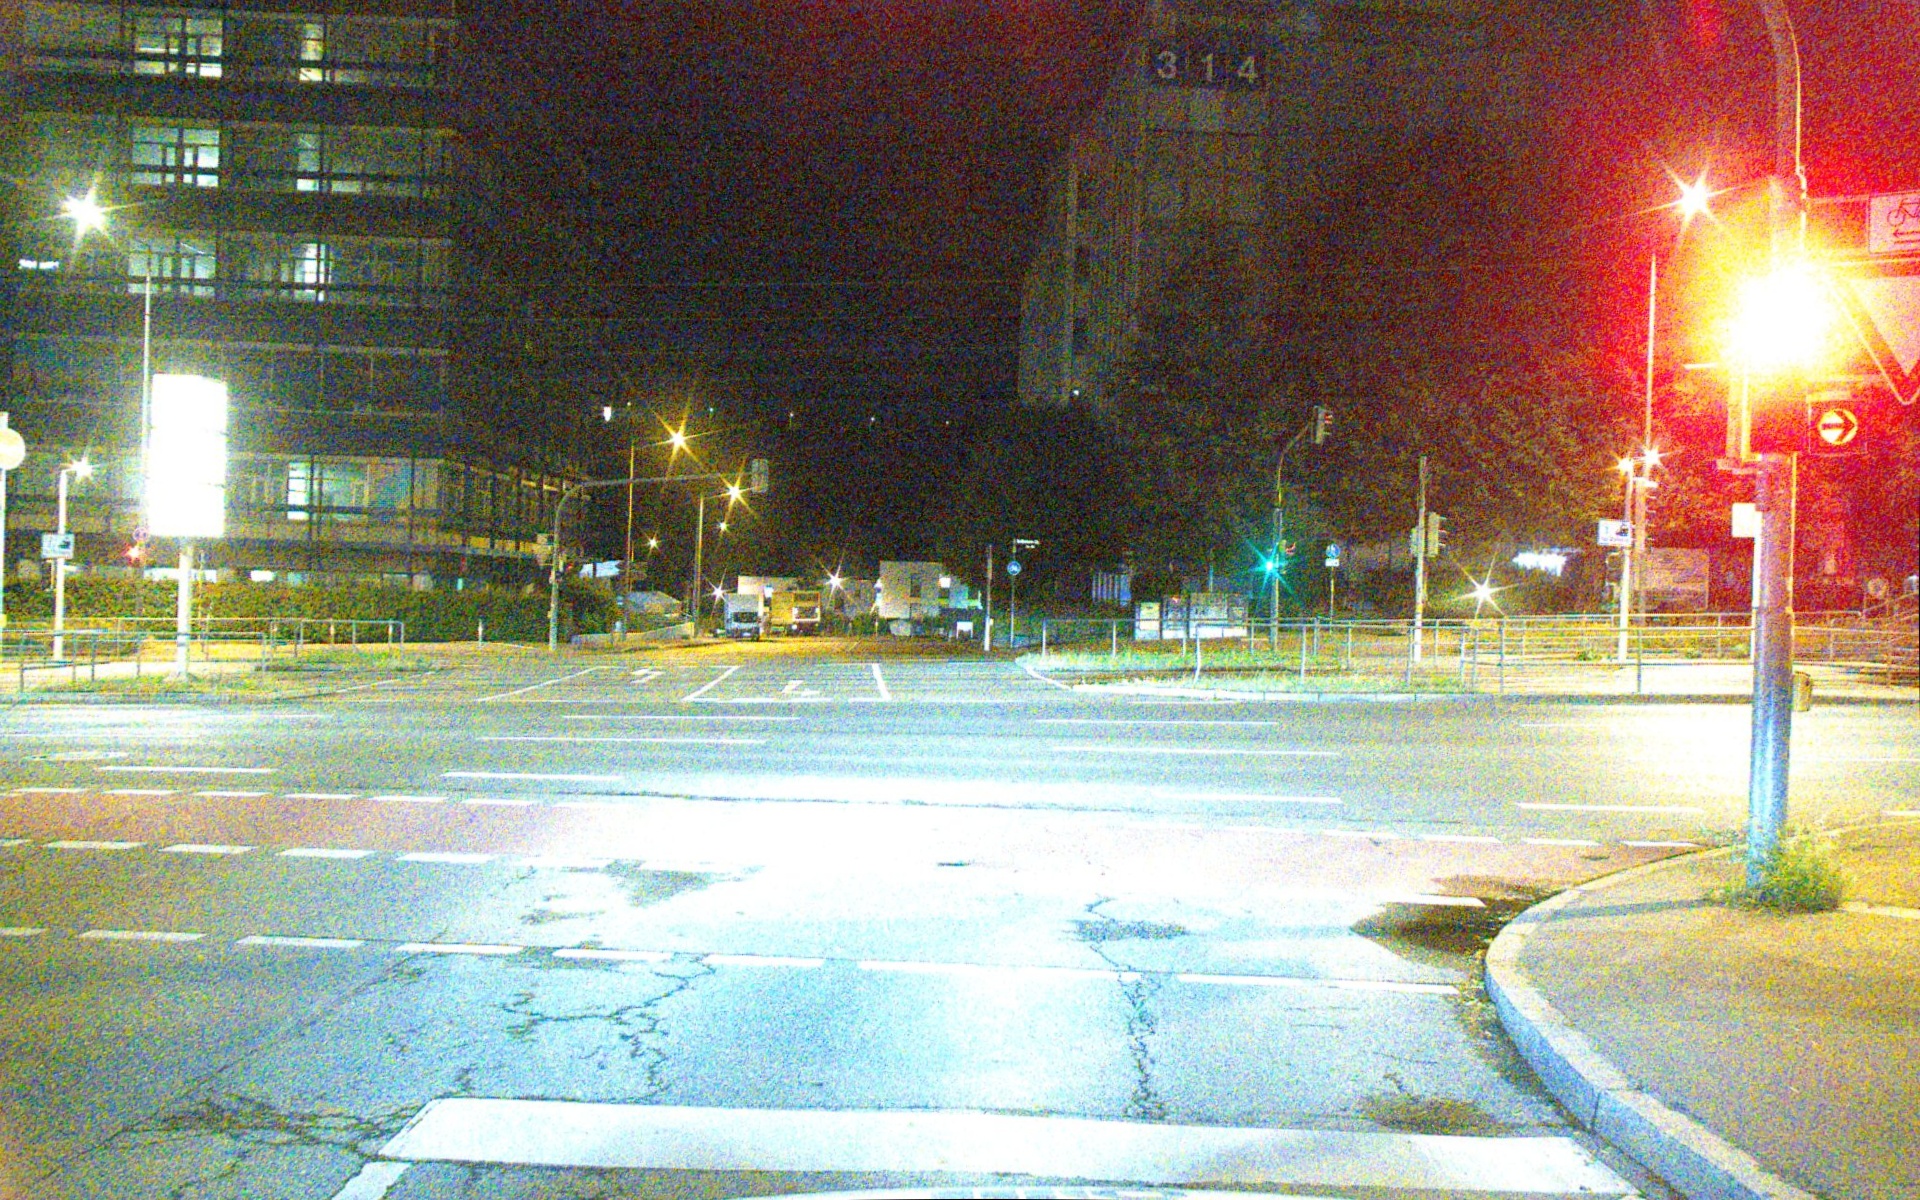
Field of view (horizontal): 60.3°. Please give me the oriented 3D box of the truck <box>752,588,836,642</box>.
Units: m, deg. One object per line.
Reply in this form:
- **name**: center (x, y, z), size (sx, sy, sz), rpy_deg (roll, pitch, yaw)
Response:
- **truck**: center (-15.256, 1.294, 150.931), size (4.751, 4.627, 12.593), rpy_deg (1, 0, -19)

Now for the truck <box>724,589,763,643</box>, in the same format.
- **truck**: center (-15.610, 1.133, 119.055), size (2.535, 3.772, 5.724), rpy_deg (1, 0, -9)
